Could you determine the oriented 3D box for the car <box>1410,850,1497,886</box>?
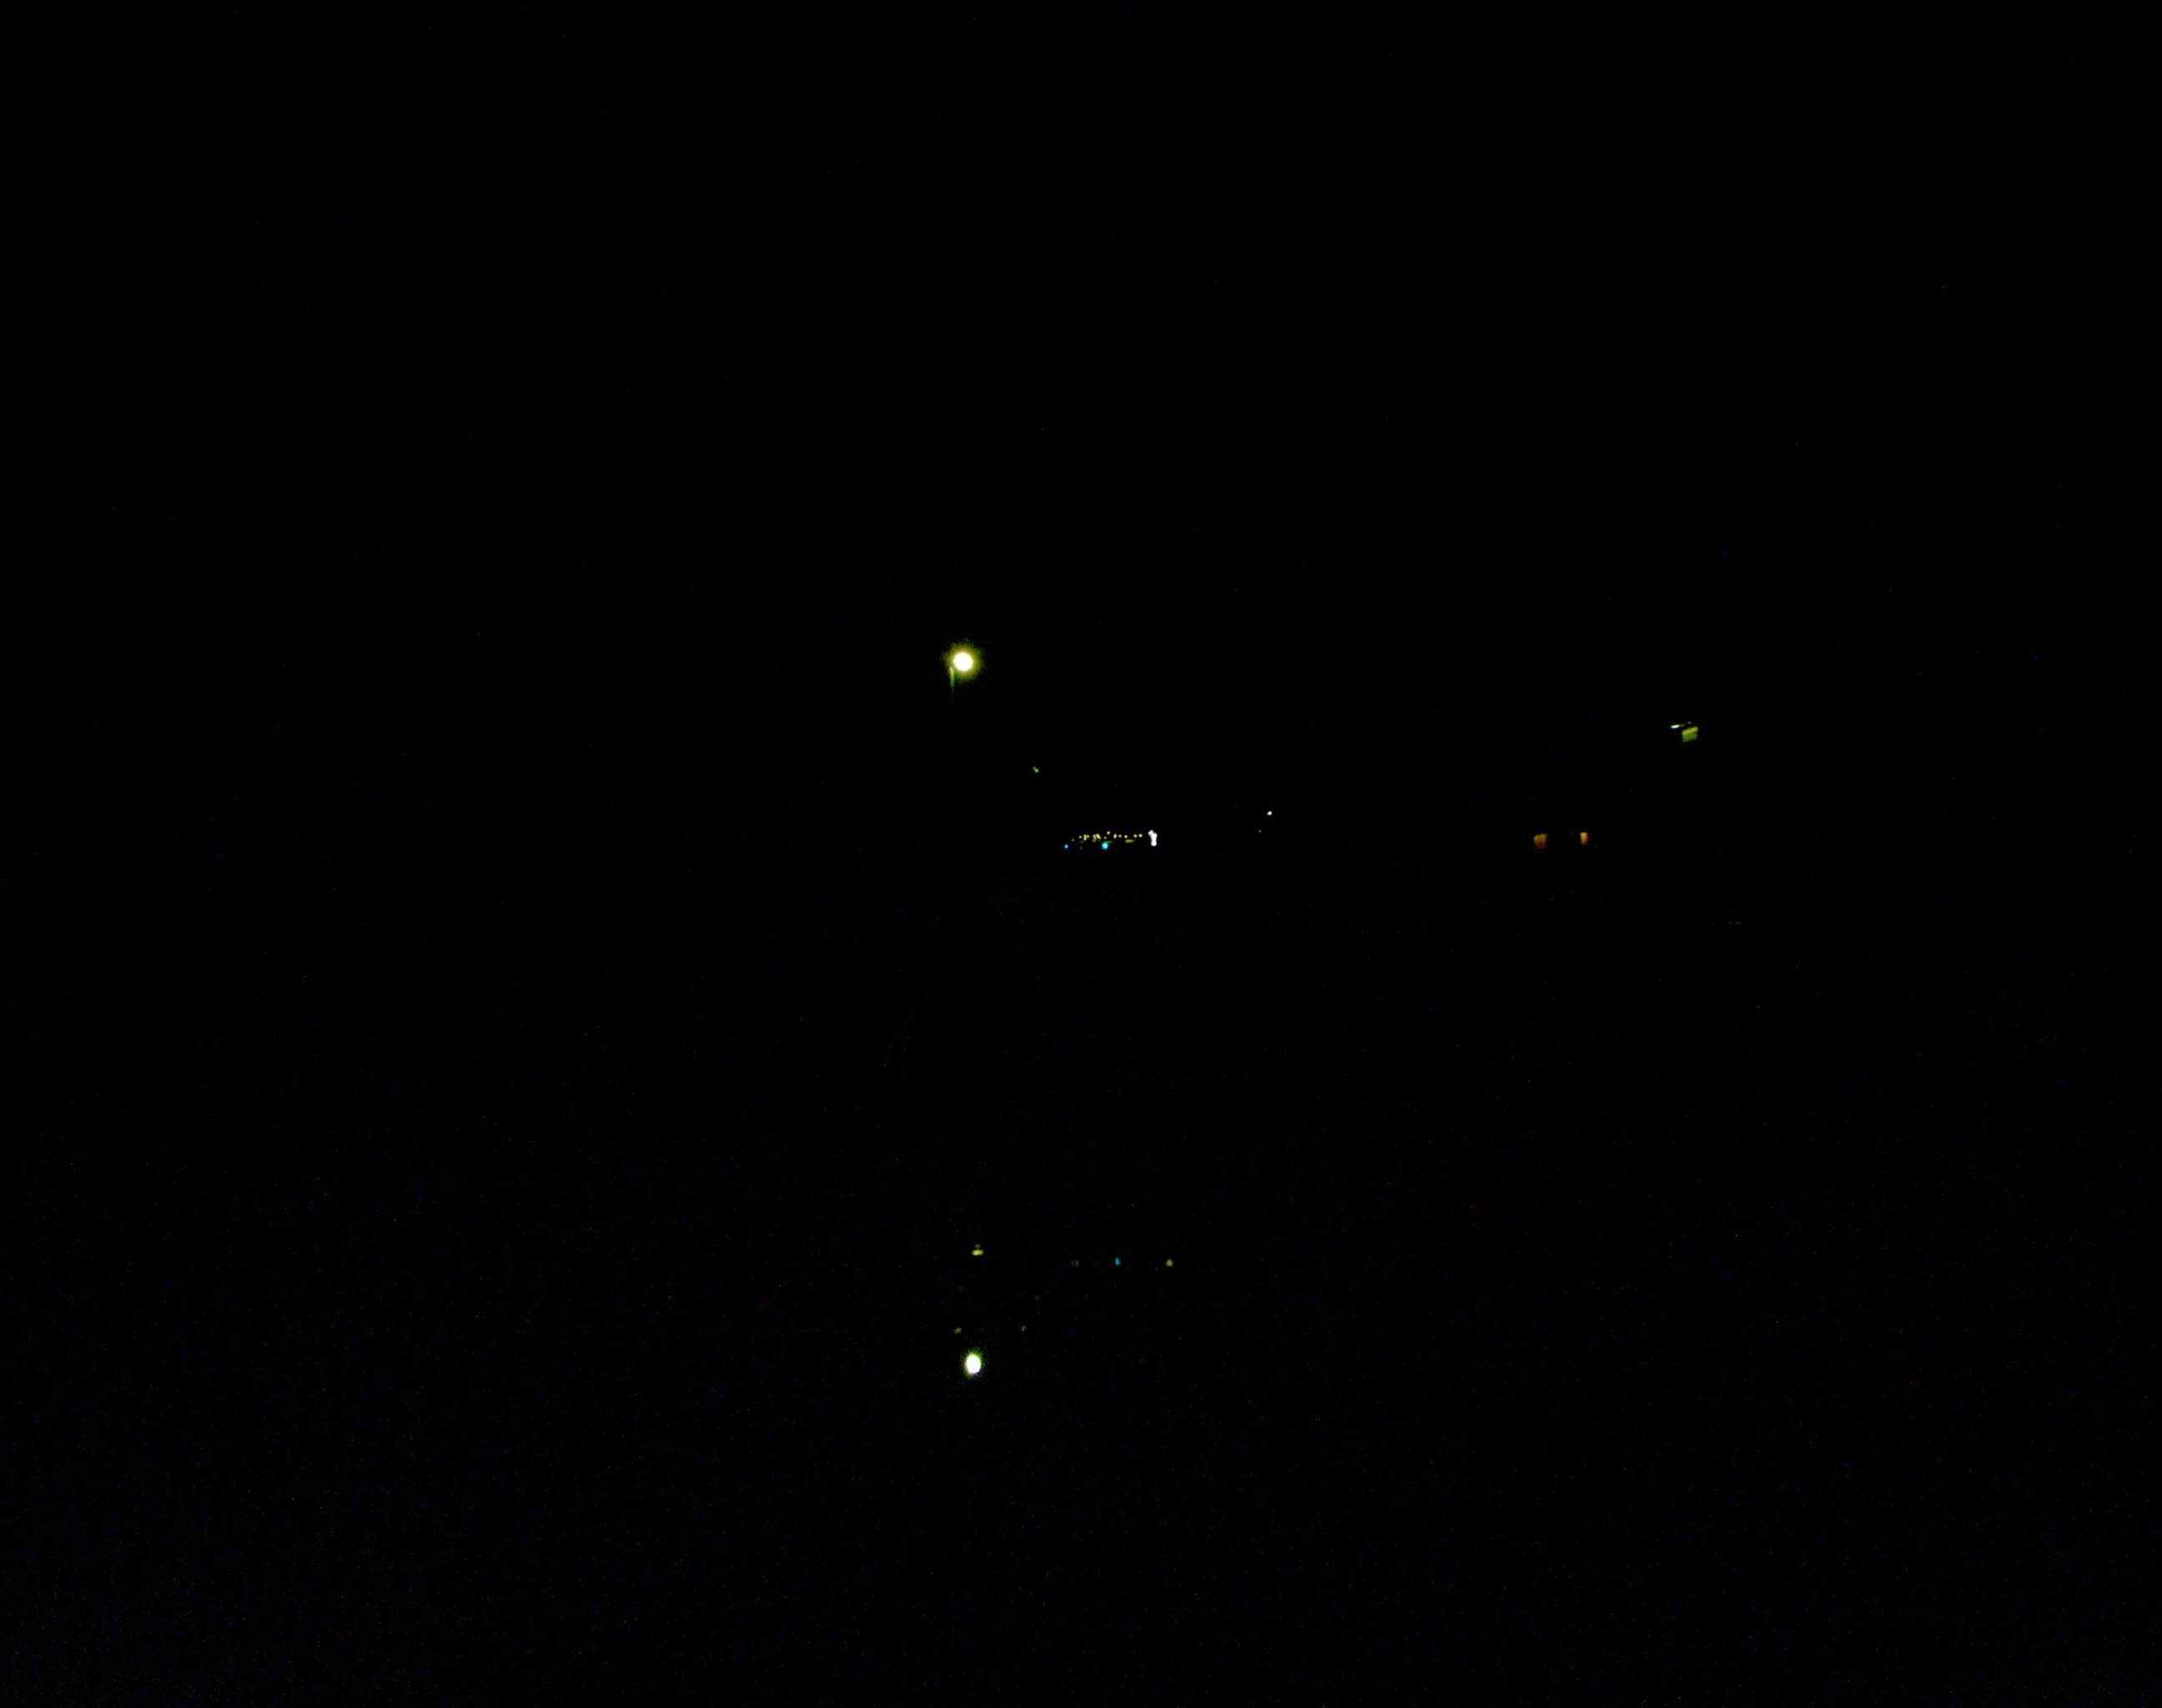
[{"bbox_3d":[16.081,0.559,33.033,1.732,1.357,4.145,3,1,1],"label":"car"}]

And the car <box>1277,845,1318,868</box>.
[{"bbox_3d":[16.598,0.174,58.518,1.768,1.559,4.693,4,0,1],"label":"car"}]

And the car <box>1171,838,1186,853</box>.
[{"bbox_3d":[17.165,-1.481,133.631,2.164,2.498,4.720,3,1,3],"label":"car"}]

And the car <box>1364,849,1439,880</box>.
[{"bbox_3d":[16.264,0.503,38.900,1.904,1.357,4.984,3,1,3],"label":"car"}]

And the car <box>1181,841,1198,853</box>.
[{"bbox_3d":[17.118,-1.062,120.062,2.124,1.761,4.720,3,1,3],"label":"car"}]

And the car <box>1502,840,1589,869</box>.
[{"bbox_3d":[27.431,0.016,44.949,3.997,1.534,1.889,-2,1,-1],"label":"car"}]

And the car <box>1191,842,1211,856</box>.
[{"bbox_3d":[16.872,-0.725,106.985,2.124,1.761,4.720,3,1,3],"label":"car"}]
